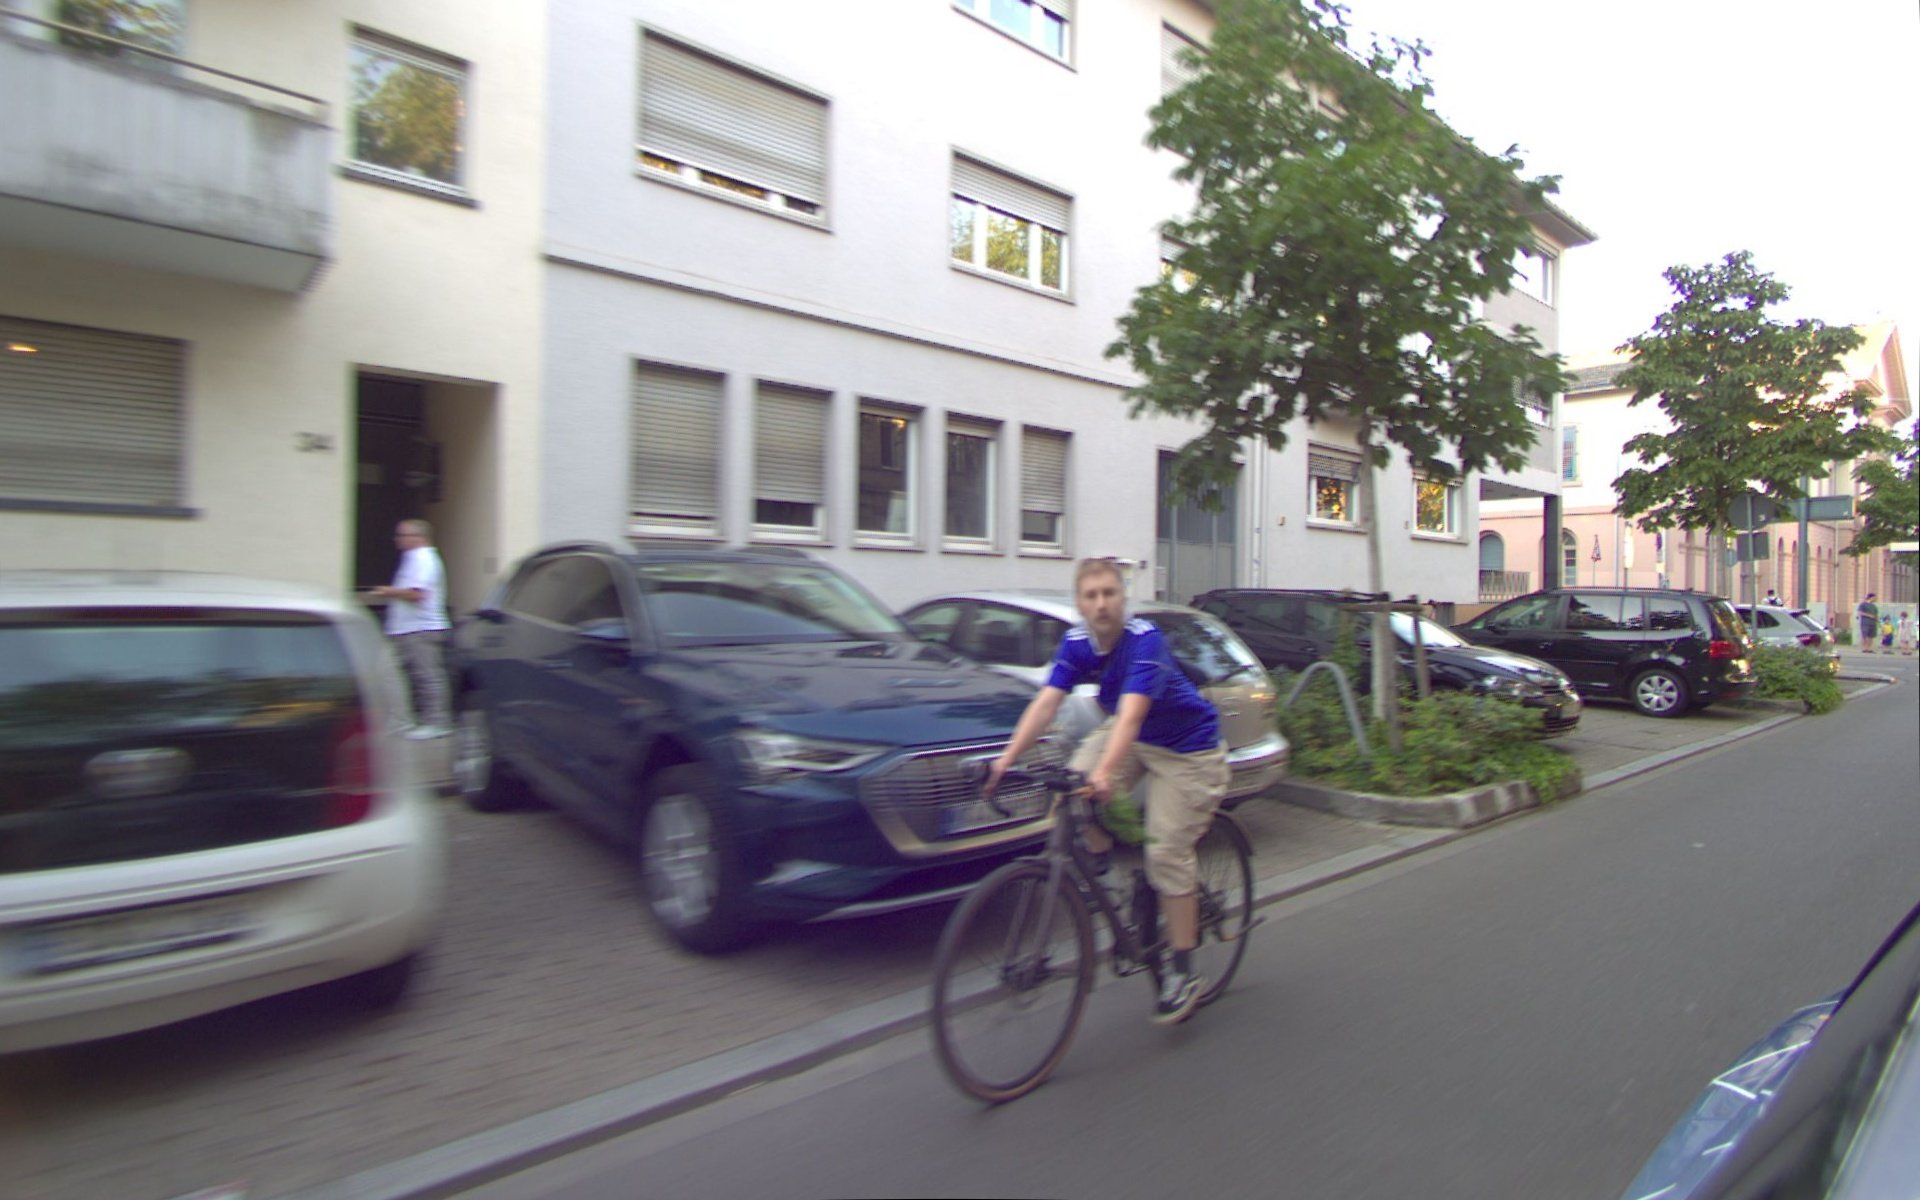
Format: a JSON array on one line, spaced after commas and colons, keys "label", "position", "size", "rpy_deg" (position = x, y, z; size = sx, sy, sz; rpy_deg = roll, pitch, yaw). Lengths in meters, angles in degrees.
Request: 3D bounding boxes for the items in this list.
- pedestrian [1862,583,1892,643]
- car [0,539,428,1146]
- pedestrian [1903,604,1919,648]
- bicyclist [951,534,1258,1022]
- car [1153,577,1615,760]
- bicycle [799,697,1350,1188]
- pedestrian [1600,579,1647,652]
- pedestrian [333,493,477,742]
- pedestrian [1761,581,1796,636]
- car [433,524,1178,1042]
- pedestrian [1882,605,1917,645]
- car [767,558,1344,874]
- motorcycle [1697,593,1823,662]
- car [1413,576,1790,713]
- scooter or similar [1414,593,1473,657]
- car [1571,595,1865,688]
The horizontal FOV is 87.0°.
[{"label": "pedestrian", "position": [27.954, 0.398, 30.850], "size": [0.565, 1.796, 0.544], "rpy_deg": [1, 2, -39]}, {"label": "car", "position": [-3.559, 0.538, 4.087], "size": [1.668, 1.440, 3.801], "rpy_deg": [0, 4, -41]}, {"label": "pedestrian", "position": [28.374, 0.781, 30.070], "size": [0.450, 1.277, 0.482], "rpy_deg": [3, 2, 44]}, {"label": "bicyclist", "position": [0.478, 0.509, 3.386], "size": [0.763, 1.381, 0.673], "rpy_deg": [1, -2, -40]}, {"label": "car", "position": [4.402, 0.563, 11.078], "size": [1.763, 1.514, 4.323], "rpy_deg": [0, 2, -41]}, {"label": "bicycle", "position": [0.478, 0.920, 3.366], "size": [1.942, 1.043, 0.673], "rpy_deg": [0, -2, -40]}, {"label": "pedestrian", "position": [16.775, 0.378, 25.599], "size": [1.046, 1.818, 0.698], "rpy_deg": [1, 0, -40]}, {"label": "pedestrian", "position": [-4.347, 0.121, 7.928], "size": [0.865, 1.818, 0.699], "rpy_deg": [1, 0, -40]}, {"label": "pedestrian", "position": [28.281, 0.284, 34.960], "size": [1.030, 1.878, 0.699], "rpy_deg": [1, 1, -38]}, {"label": "car", "position": [-1.278, 0.462, 5.618], "size": [1.910, 1.597, 4.601], "rpy_deg": [0, 4, -41]}, {"label": "pedestrian", "position": [28.533, 0.765, 30.733], "size": [0.535, 1.159, 0.493], "rpy_deg": [2, 2, -3]}, {"label": "car", "position": [0.378, 0.525, 7.291], "size": [1.785, 1.446, 4.087], "rpy_deg": [0, 4, -38]}, {"label": "motorcycle", "position": [17.507, 0.563, 22.188], "size": [0.979, 1.410, 1.917], "rpy_deg": [0, 1, -27]}, {"label": "car", "position": [8.886, 0.502, 14.302], "size": [1.926, 1.638, 4.119], "rpy_deg": [0, 1, -39]}, {"label": "scooter or similar", "position": [9.786, 0.494, 20.461], "size": [1.392, 1.255, 0.347], "rpy_deg": [1, 0, -31]}, {"label": "car", "position": [13.673, 0.670, 18.455], "size": [1.762, 1.455, 3.996], "rpy_deg": [0, 1, -39]}]
